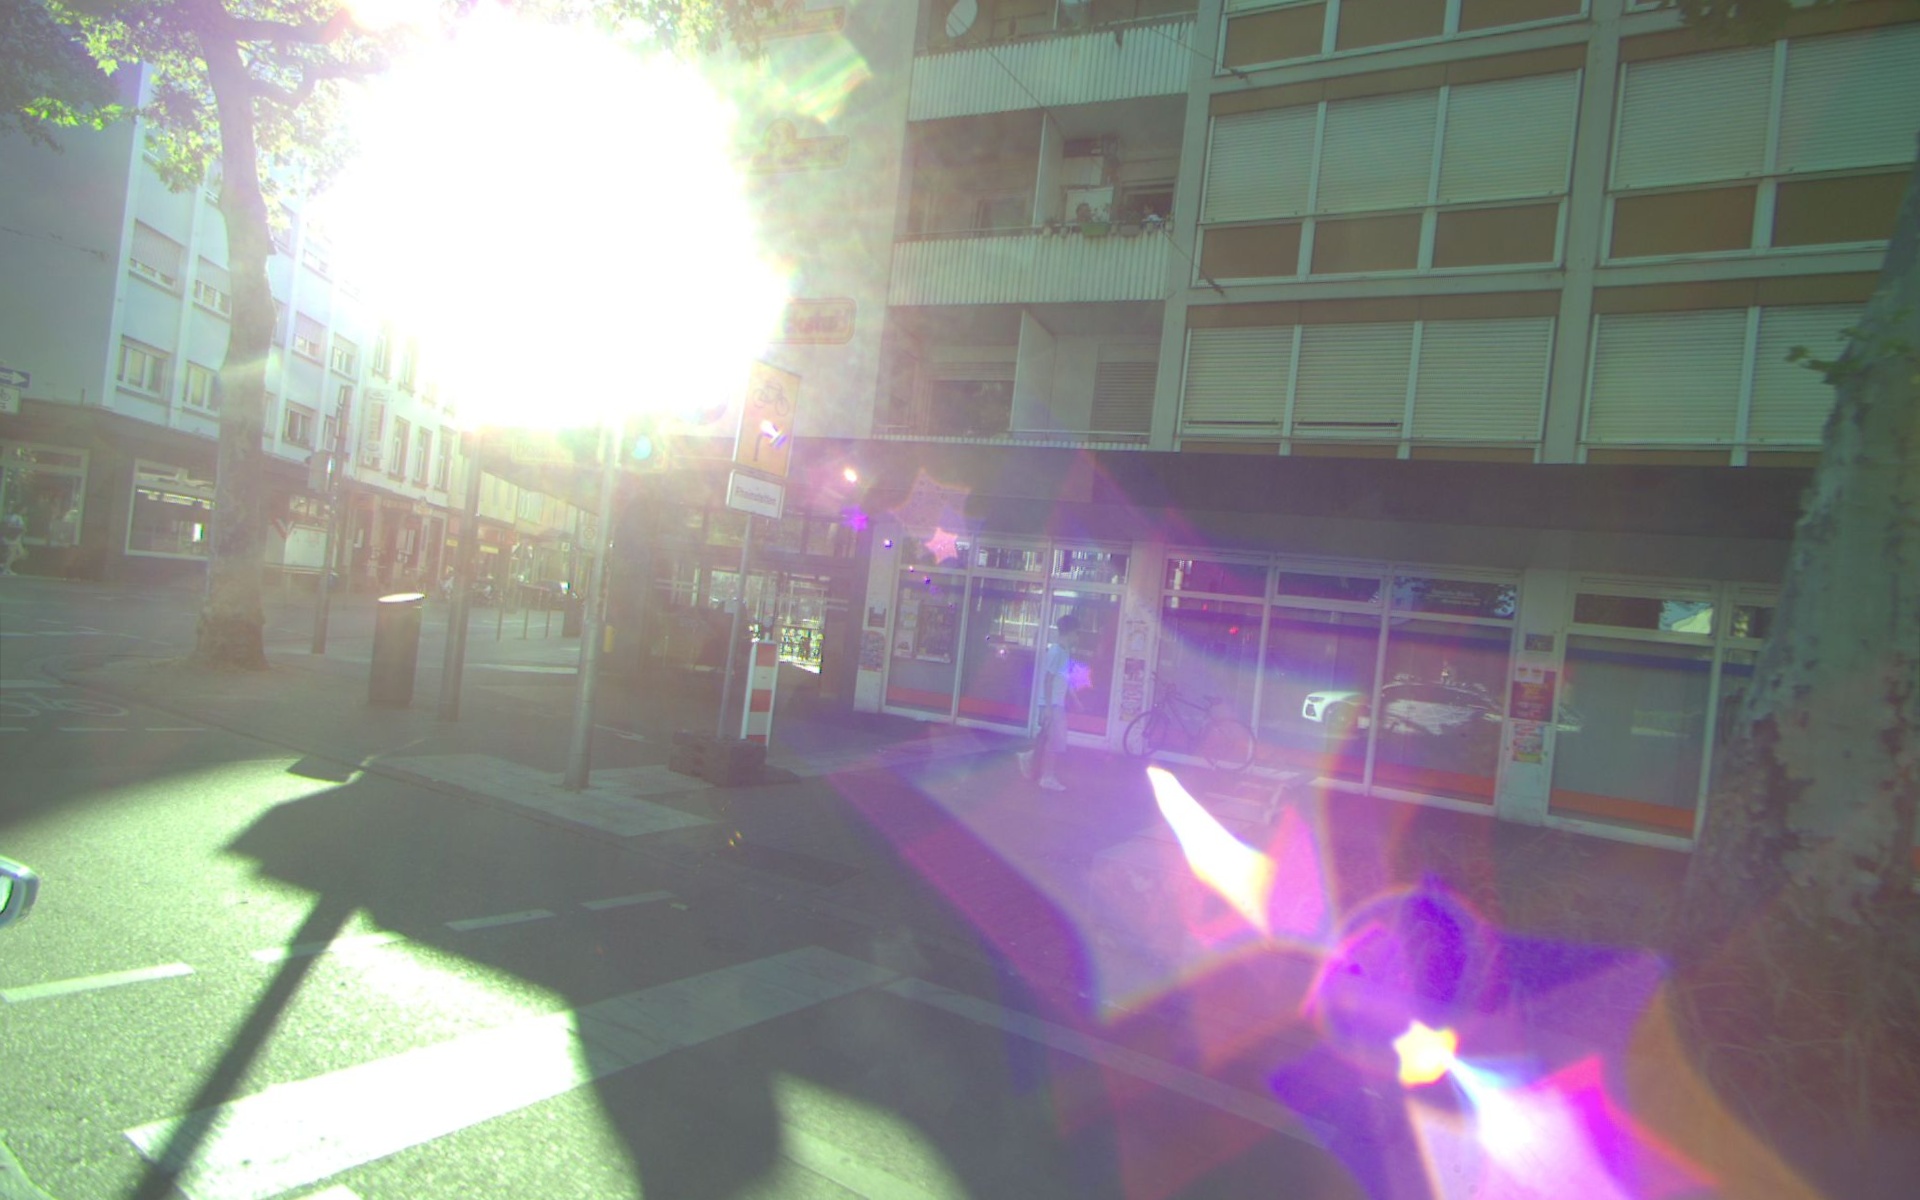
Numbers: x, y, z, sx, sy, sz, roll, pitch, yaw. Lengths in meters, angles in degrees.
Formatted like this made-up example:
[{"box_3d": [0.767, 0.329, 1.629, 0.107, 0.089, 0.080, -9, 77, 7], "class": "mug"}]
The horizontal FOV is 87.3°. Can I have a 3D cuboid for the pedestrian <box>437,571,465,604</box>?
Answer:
[{"box_3d": [-20.801, -0.511, 41.146, 0.719, 1.257, 0.552, 7, -2, 27], "class": "pedestrian"}]

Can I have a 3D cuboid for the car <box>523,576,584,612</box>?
[{"box_3d": [-20.957, -0.295, 52.005, 1.811, 1.513, 3.996, 8, -1, -7], "class": "car"}]

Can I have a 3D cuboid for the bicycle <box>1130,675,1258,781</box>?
[{"box_3d": [2.975, 1.605, 12.825, 1.436, 1.107, 0.438, 6, 2, 26], "class": "bicycle"}]

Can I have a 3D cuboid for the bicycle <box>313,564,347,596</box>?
[{"box_3d": [-22.020, -0.682, 35.172, 0.290, 1.053, 1.716, 5, -1, -9], "class": "bicycle"}]

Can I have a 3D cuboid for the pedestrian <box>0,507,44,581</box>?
[{"box_3d": [-21.447, -1.264, 22.741, 0.704, 1.566, 0.603, 8, -2, -7], "class": "pedestrian"}]

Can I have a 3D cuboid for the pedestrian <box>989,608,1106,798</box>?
[{"box_3d": [0.886, 0.995, 10.072, 0.779, 1.735, 0.837, 7, 2, 22], "class": "pedestrian"}]

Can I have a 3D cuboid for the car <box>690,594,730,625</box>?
[{"box_3d": [-17.020, 0.690, 68.627, 1.810, 1.680, 4.002, 8, -3, -4], "class": "car"}]

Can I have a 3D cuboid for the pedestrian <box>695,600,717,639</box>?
[{"box_3d": [-10.926, 0.829, 43.319, 0.655, 1.593, 0.694, 8, -2, -8], "class": "pedestrian"}]

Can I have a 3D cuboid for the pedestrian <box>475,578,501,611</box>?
[{"box_3d": [-19.415, -0.206, 41.385, 0.683, 1.257, 0.597, 8, -2, -11], "class": "pedestrian"}]

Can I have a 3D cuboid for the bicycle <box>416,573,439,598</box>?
[{"box_3d": [-23.277, -0.640, 43.979, 0.290, 1.054, 1.714, 5, 1, -9], "class": "bicycle"}]
